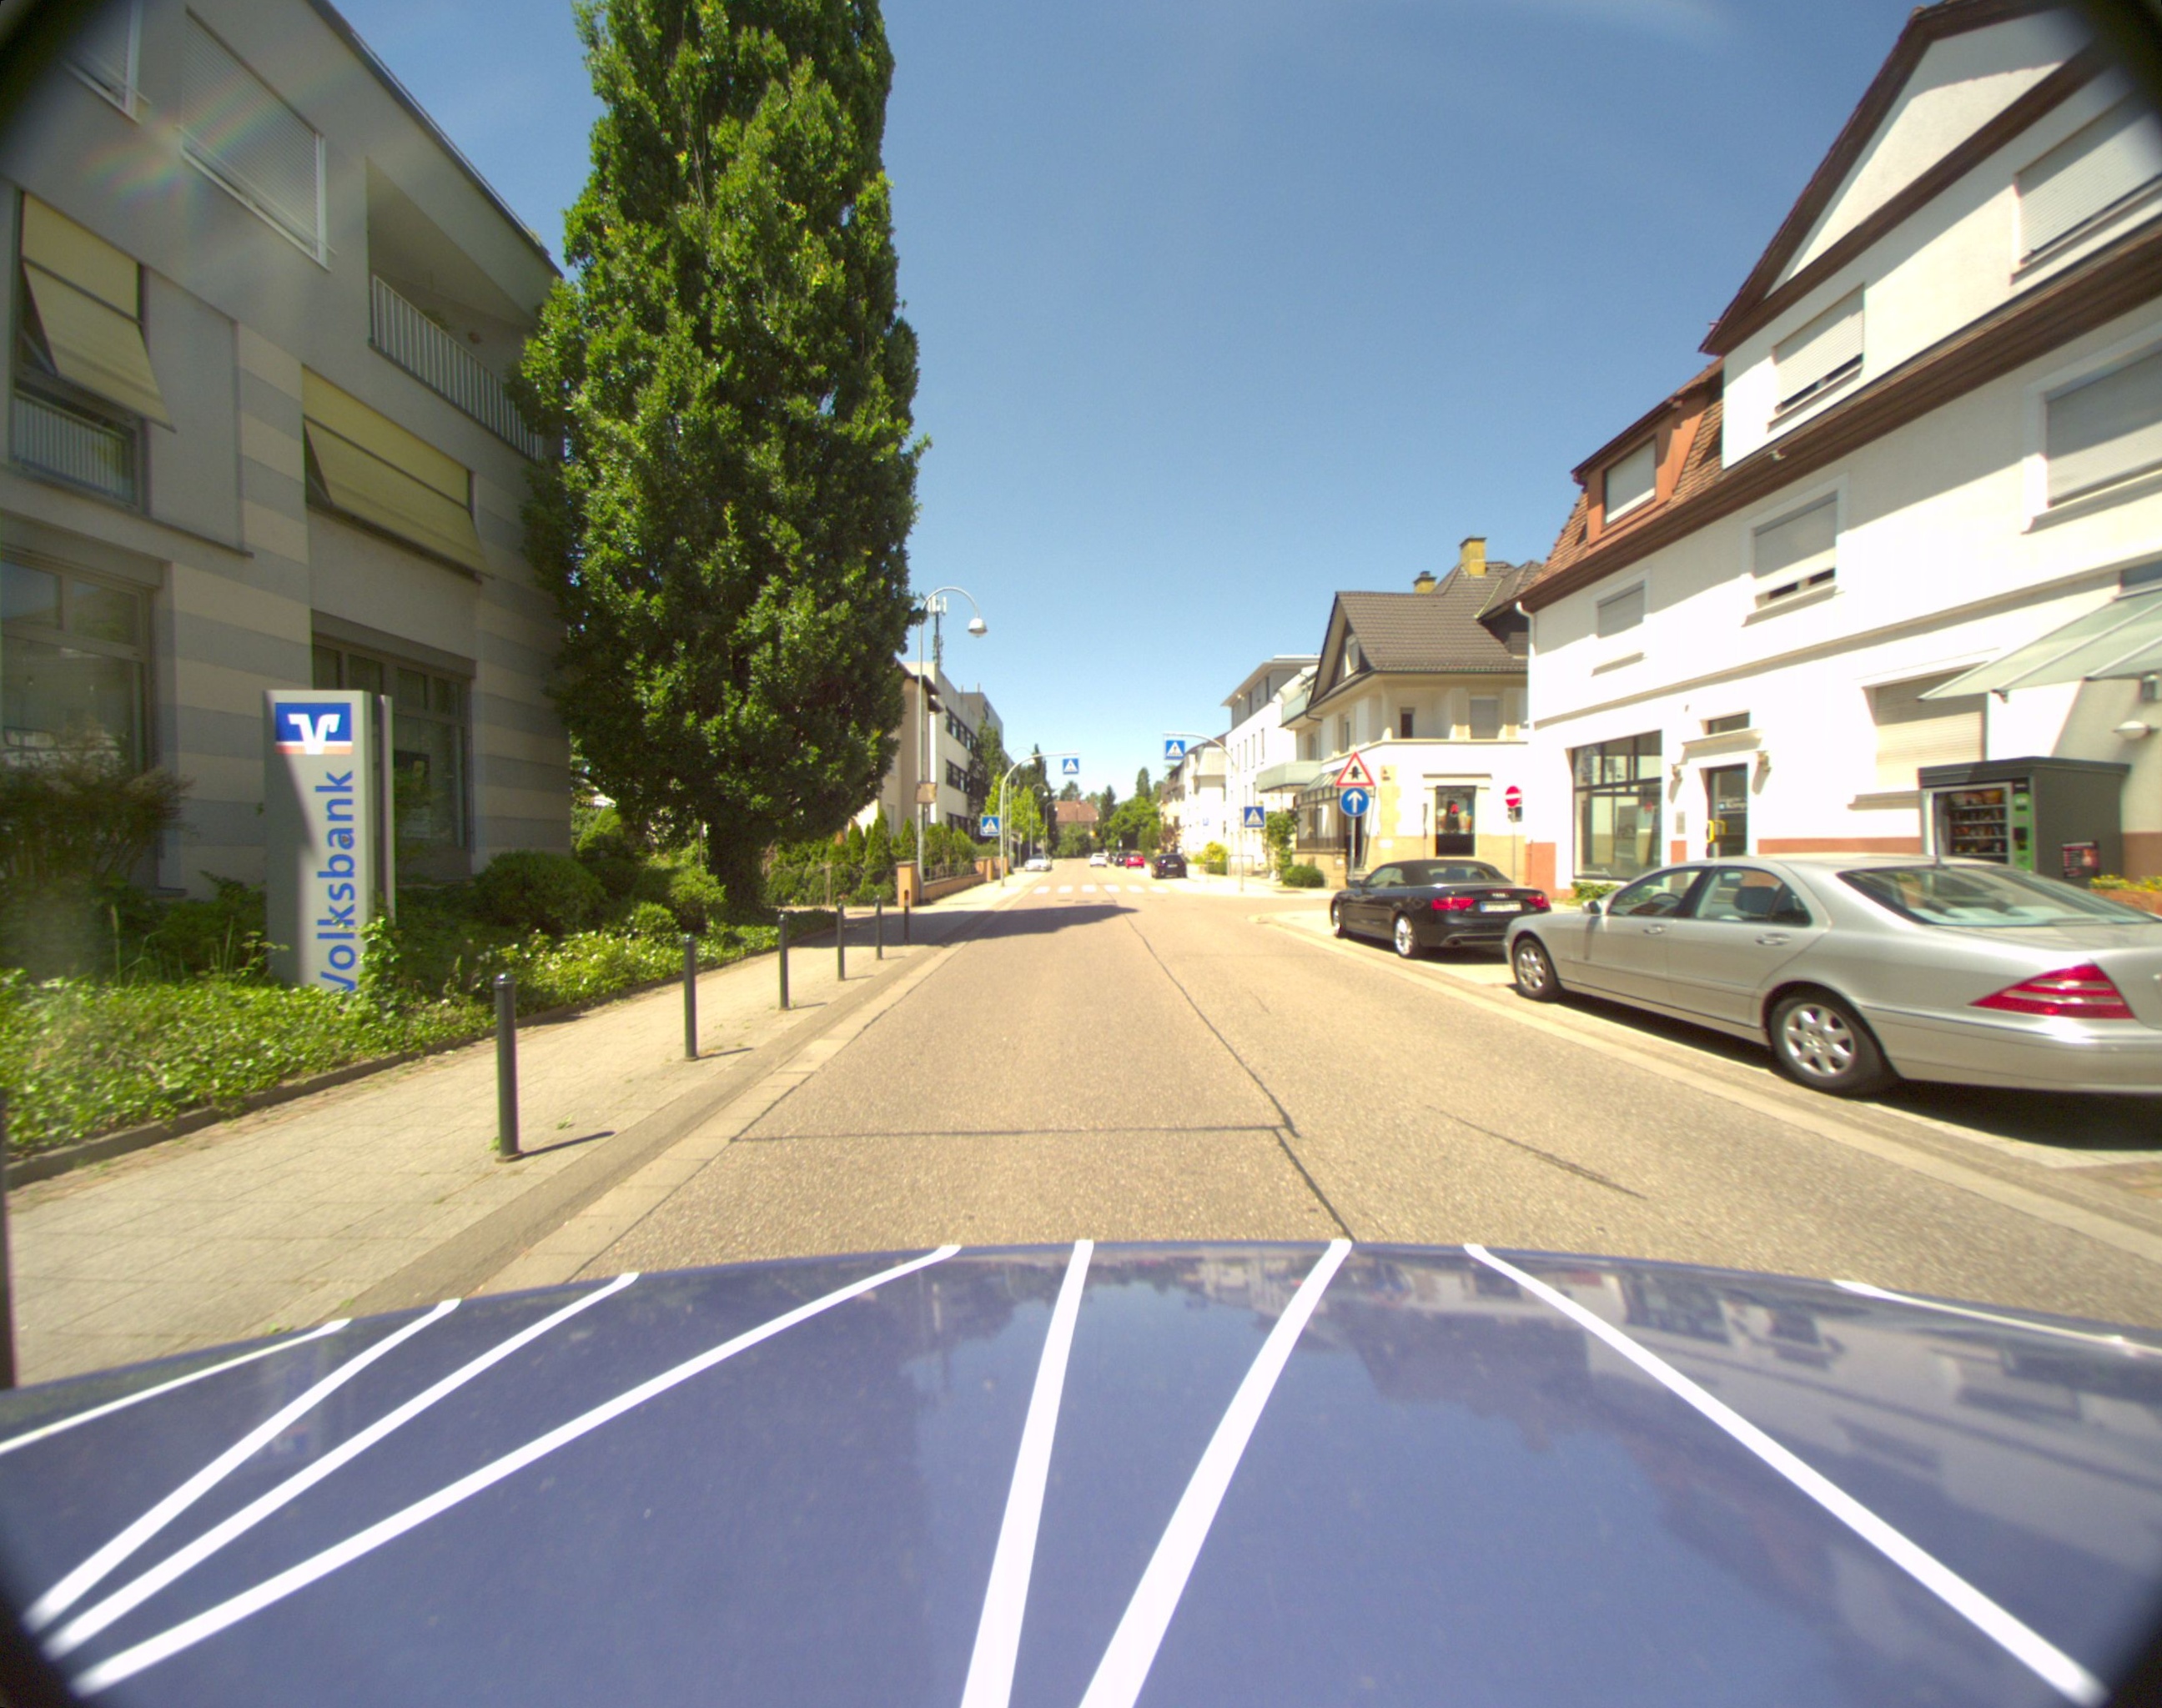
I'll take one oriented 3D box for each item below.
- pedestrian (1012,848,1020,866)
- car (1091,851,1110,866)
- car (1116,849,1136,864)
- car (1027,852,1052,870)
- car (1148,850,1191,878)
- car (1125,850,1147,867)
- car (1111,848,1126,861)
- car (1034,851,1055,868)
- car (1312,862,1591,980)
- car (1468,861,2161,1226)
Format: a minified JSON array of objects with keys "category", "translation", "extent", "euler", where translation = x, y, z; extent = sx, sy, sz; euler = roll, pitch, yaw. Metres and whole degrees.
[{"category":"pedestrian","translation":[-6.298,0.300,73.918],"extent":[0.680,1.690,1.050],"euler":[1,1,0]},{"category":"car","translation":[2.064,0.465,82.215],"extent":[1.812,1.474,3.868],"euler":[1,1,-2]},{"category":"car","translation":[4.983,0.243,84.562],"extent":[1.925,1.577,4.435],"euler":[-3,1,0]},{"category":"car","translation":[-3.545,0.562,65.759],"extent":[1.920,1.460,4.879],"euler":[1,0,0]},{"category":"car","translation":[5.271,0.565,45.744],"extent":[1.921,1.444,5.148],"euler":[-3,1,0]},{"category":"car","translation":[5.265,0.392,73.269],"extent":[1.737,1.444,4.259],"euler":[-3,1,0]},{"category":"car","translation":[5.124,0.065,104.467],"extent":[1.925,1.681,4.287],"euler":[-3,1,1]},{"category":"car","translation":[-3.378,0.489,70.967],"extent":[1.715,1.489,3.876],"euler":[1,1,0]},{"category":"car","translation":[5.389,0.861,12.014],"extent":[1.947,1.365,5.097],"euler":[-1,0,0]},{"category":"car","translation":[5.376,0.844,5.944],"extent":[1.986,1.444,5.357],"euler":[-1,0,0]}]
